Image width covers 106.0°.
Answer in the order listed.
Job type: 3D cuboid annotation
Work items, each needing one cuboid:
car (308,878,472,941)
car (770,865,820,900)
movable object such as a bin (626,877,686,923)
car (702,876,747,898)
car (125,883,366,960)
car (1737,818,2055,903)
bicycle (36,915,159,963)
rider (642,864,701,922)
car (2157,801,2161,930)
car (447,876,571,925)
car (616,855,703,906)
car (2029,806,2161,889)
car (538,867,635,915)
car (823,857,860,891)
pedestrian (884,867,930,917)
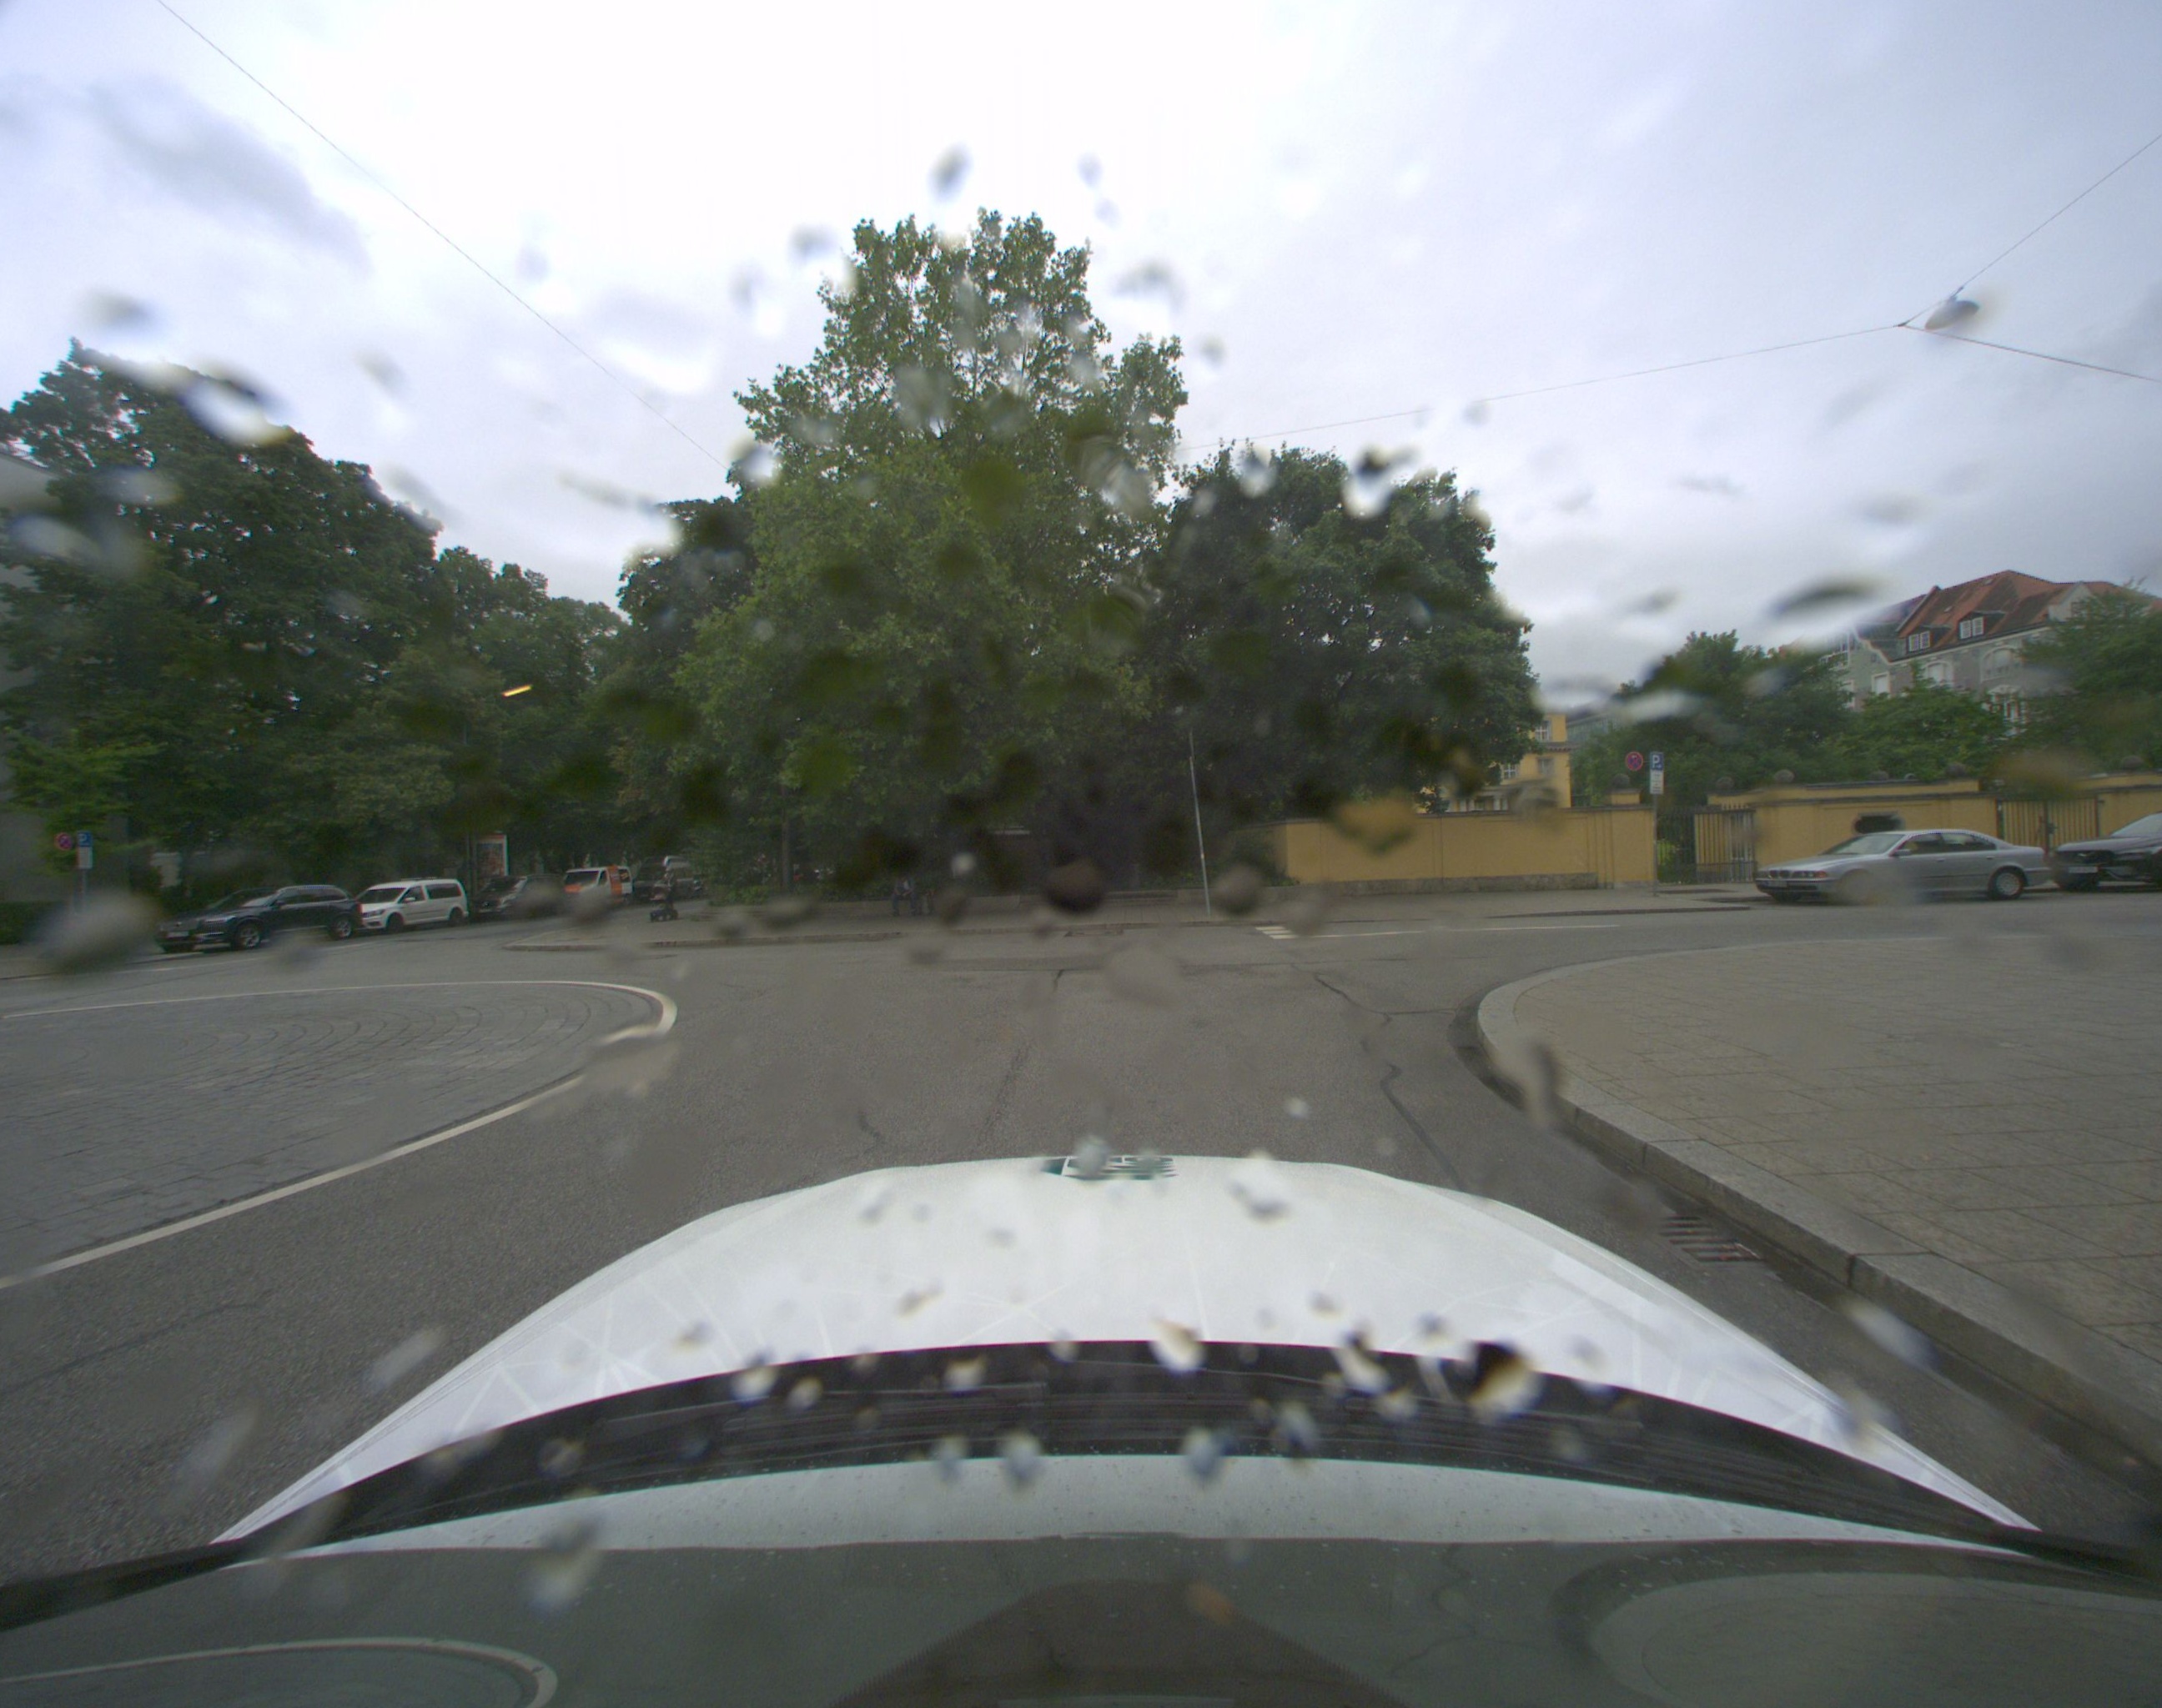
[{"bbox_3d":[-24.407,1.890,29.080,1.923,1.895,4.859,-2,-1,-5],"label":"car"},{"bbox_3d":[-17.548,1.694,50.178,2.041,1.922,4.431,-2,0,-9],"label":"car"},{"bbox_3d":[-13.001,1.406,24.943,1.072,1.267,1.089,-5,-1,9],"label":"movable object such as a bin"},{"bbox_3d":[-27.527,2.517,63.012,1.892,1.538,4.067,-2,-1,-5],"label":"car"},{"bbox_3d":[-23.916,1.848,23.668,2.061,1.767,4.900,-2,-1,-4],"label":"car"},{"bbox_3d":[16.269,0.125,16.439,4.542,1.402,1.825,-3,0,0],"label":"car"},{"bbox_3d":[-26.215,2.241,21.766,0.909,1.051,1.969,-2,-1,-3],"label":"bicycle"},{"bbox_3d":[-12.901,1.208,25.688,1.076,1.667,1.142,-5,-1,9],"label":"rider"},{"bbox_3d":[15.699,0.063,9.235,4.390,1.616,1.893,-3,1,2],"label":"car"},{"bbox_3d":[-24.866,1.959,35.693,2.061,1.859,4.980,-2,-1,-4],"label":"car"},{"bbox_3d":[-26.766,1.623,52.072,2.330,2.922,6.570,-2,-1,-4],"label":"car"},{"bbox_3d":[22.154,-0.210,16.149,4.542,1.530,1.825,-3,0,0],"label":"car"},{"bbox_3d":[-25.839,1.876,42.838,2.106,2.251,5.188,-2,-1,-4],"label":"car"},{"bbox_3d":[-19.293,1.611,65.824,2.040,2.558,5.232,-2,0,-8],"label":"car"},{"bbox_3d":[-4.377,0.939,20.509,0.807,1.189,0.921,-3,0,7],"label":"pedestrian"}]
